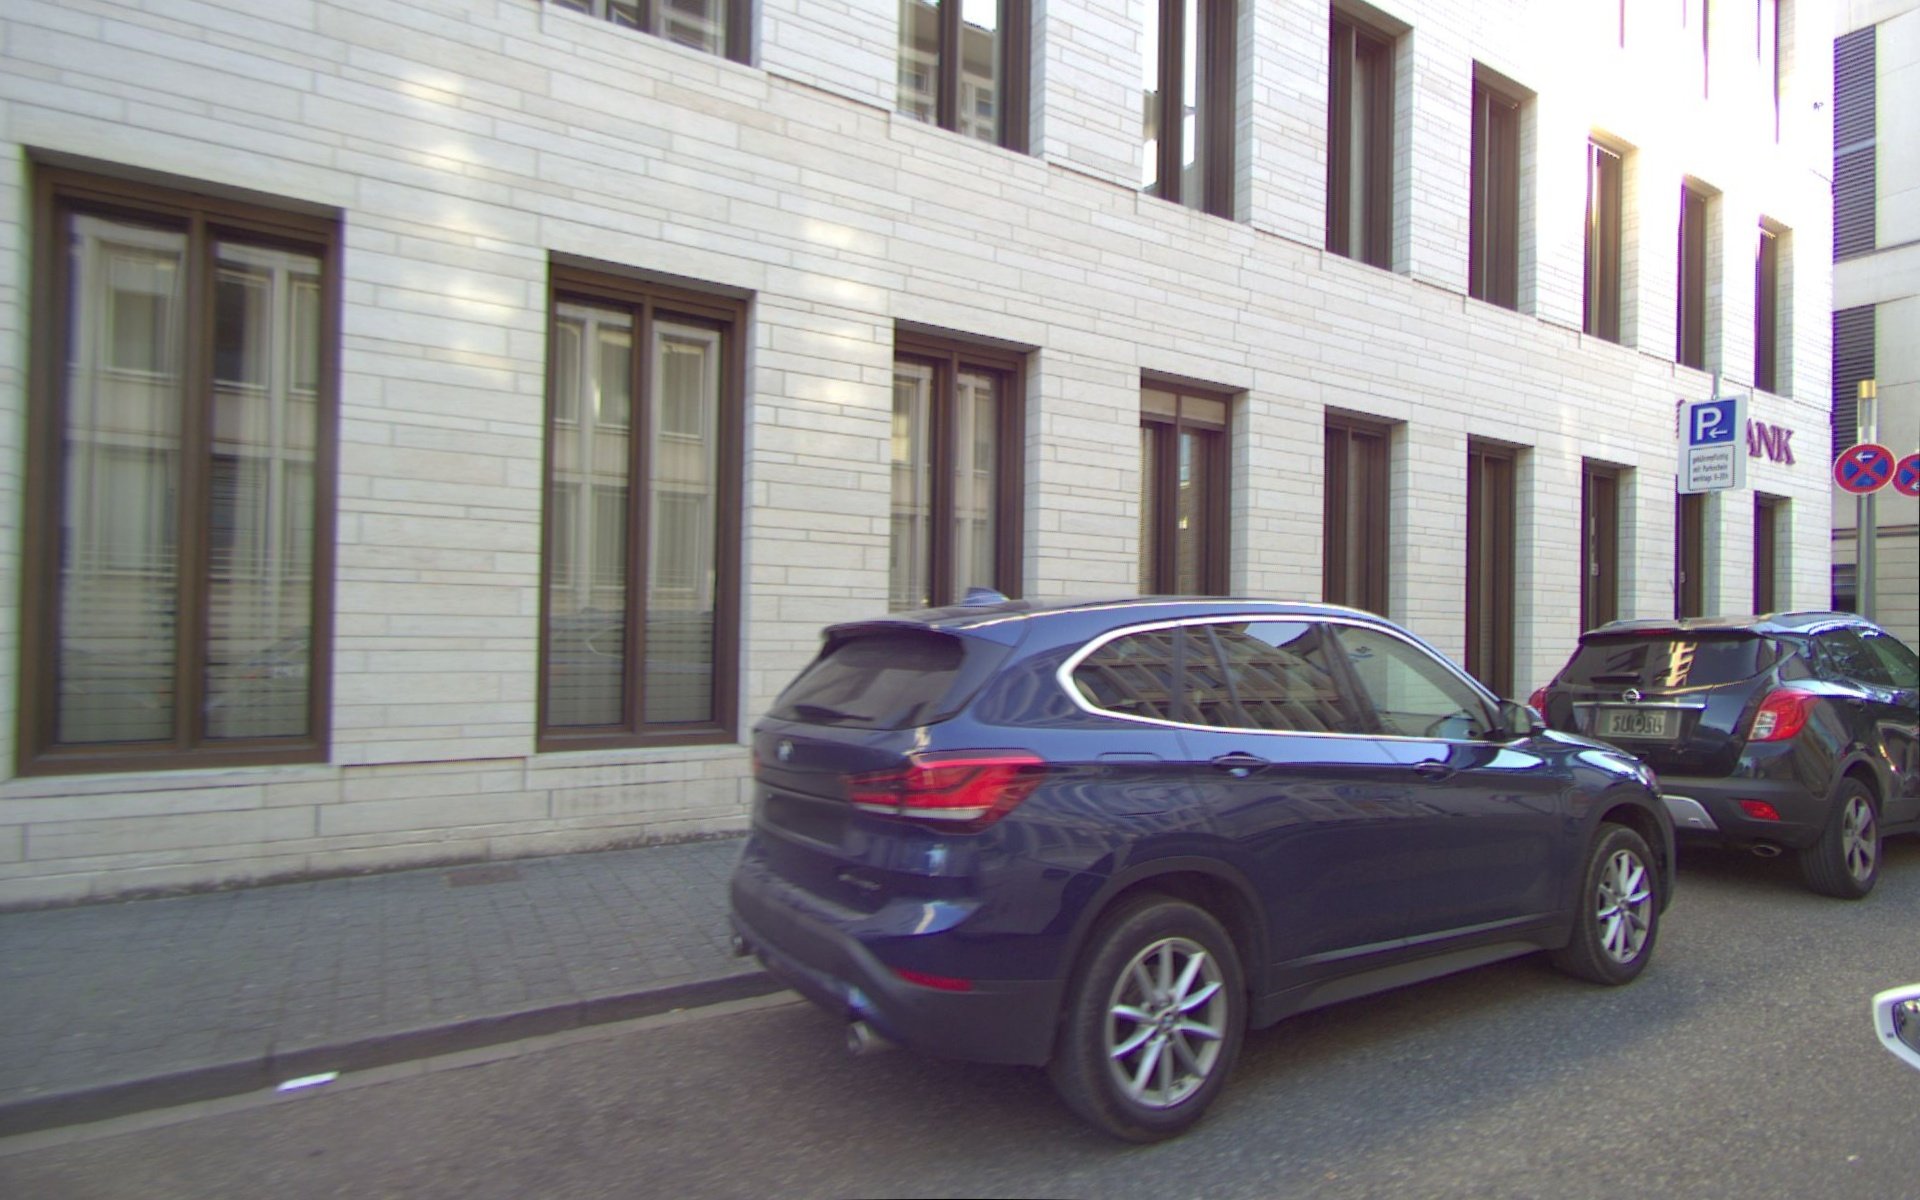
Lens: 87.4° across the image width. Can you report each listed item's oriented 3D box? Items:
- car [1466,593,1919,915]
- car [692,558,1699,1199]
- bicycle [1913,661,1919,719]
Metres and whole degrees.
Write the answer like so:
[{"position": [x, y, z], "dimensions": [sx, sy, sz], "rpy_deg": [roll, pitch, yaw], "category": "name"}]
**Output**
[{"position": [5.766, 0.897, 7.191], "dimensions": [4.213, 1.699, 1.814], "rpy_deg": [1, -3, -30], "category": "car"}, {"position": [1.157, 0.793, 4.223], "dimensions": [4.108, 1.615, 1.731], "rpy_deg": [1, -3, -32], "category": "car"}, {"position": [17.020, 1.551, 16.582], "dimensions": [0.507, 0.986, 1.800], "rpy_deg": [3, -1, -39], "category": "bicycle"}]
